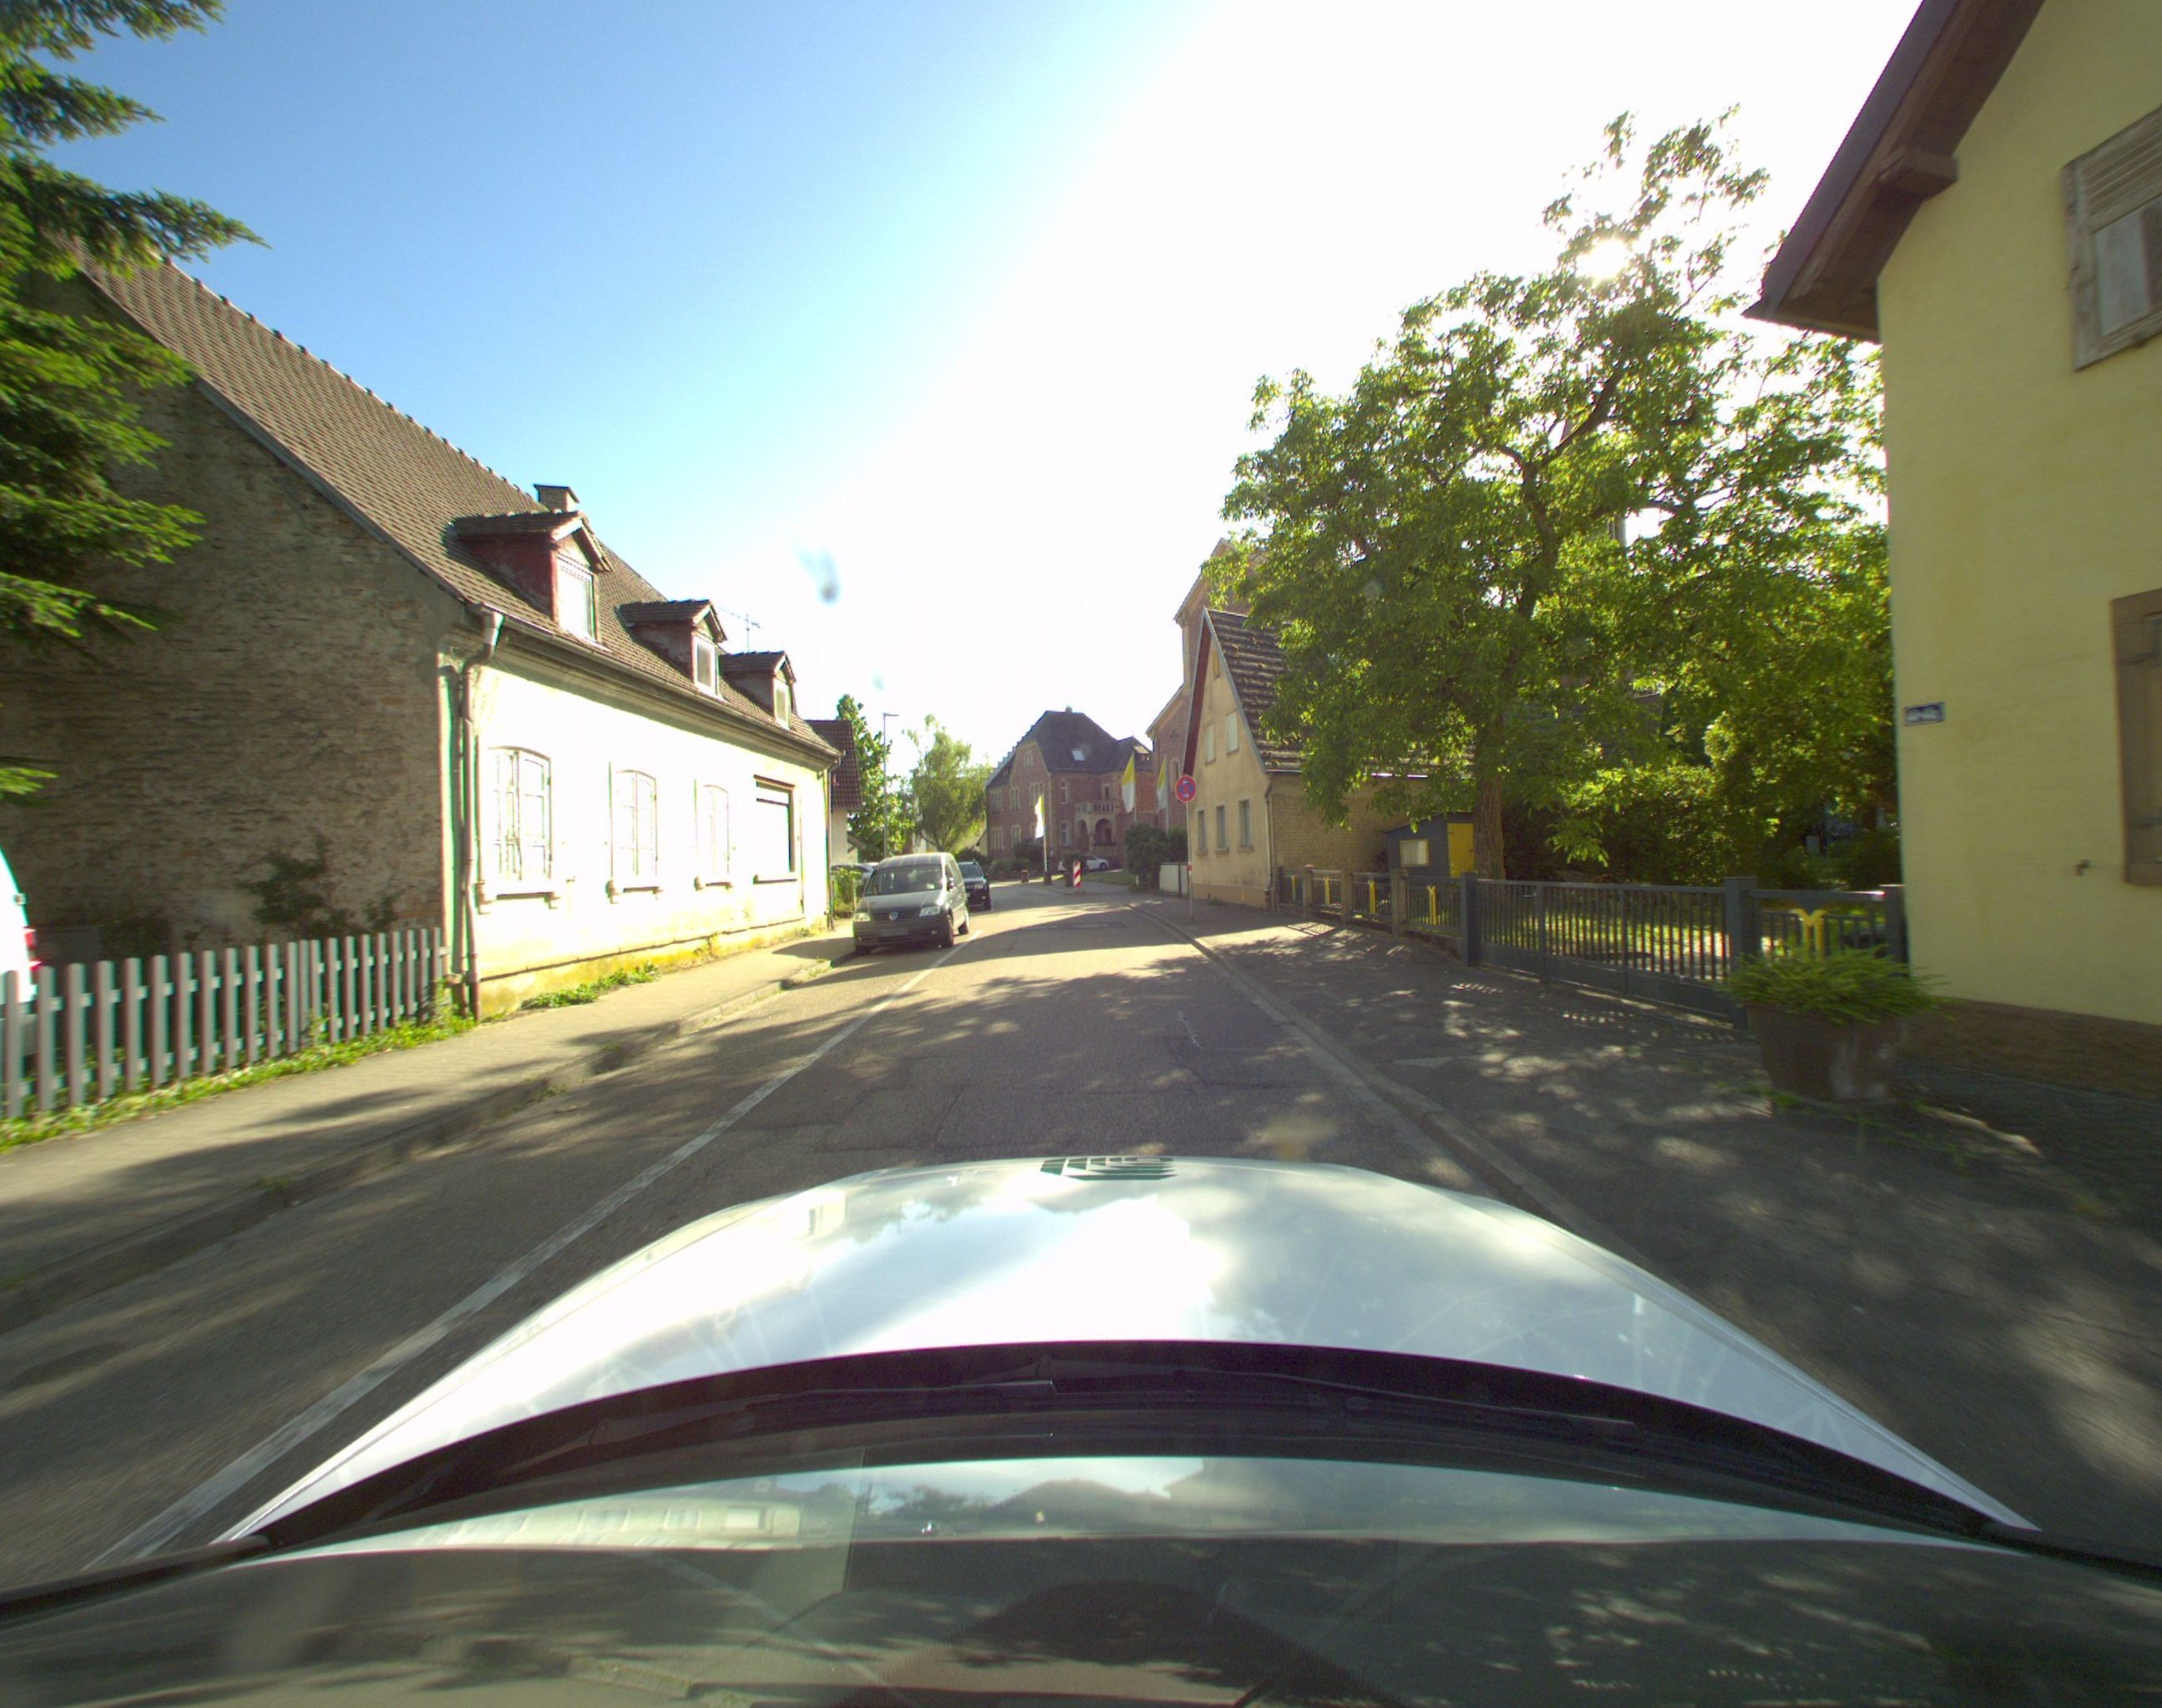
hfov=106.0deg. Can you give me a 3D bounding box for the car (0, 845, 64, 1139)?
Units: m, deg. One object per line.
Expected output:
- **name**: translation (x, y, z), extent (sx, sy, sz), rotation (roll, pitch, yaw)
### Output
- **car**: translation (-8.232, 0.995, 3.174), extent (1.934, 1.955, 5.142), rotation (-4, 0, 0)

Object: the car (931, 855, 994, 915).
- **car**: translation (-4.047, 0.978, 27.611), extent (1.826, 1.732, 4.188), rotation (-5, 0, -9)

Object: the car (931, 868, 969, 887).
- **car**: translation (-10.931, 1.951, 67.690), extent (1.723, 1.400, 4.207), rotation (-3, 0, -29)

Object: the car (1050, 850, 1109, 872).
- **car**: translation (-0.102, 0.532, 63.436), extent (4.262, 1.400, 1.701), rotation (-3, 0, -32)

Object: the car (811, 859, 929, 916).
- **car**: translation (-8.151, 1.255, 31.504), extent (4.199, 1.732, 1.821), rotation (-5, 0, -17)

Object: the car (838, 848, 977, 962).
- **car**: translation (-3.291, 0.881, 16.311), extent (1.821, 1.814, 4.199), rotation (-5, 0, -1)

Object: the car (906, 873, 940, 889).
- **car**: translation (-14.548, 2.469, 74.759), extent (1.723, 1.400, 4.207), rotation (-3, 0, -29)
